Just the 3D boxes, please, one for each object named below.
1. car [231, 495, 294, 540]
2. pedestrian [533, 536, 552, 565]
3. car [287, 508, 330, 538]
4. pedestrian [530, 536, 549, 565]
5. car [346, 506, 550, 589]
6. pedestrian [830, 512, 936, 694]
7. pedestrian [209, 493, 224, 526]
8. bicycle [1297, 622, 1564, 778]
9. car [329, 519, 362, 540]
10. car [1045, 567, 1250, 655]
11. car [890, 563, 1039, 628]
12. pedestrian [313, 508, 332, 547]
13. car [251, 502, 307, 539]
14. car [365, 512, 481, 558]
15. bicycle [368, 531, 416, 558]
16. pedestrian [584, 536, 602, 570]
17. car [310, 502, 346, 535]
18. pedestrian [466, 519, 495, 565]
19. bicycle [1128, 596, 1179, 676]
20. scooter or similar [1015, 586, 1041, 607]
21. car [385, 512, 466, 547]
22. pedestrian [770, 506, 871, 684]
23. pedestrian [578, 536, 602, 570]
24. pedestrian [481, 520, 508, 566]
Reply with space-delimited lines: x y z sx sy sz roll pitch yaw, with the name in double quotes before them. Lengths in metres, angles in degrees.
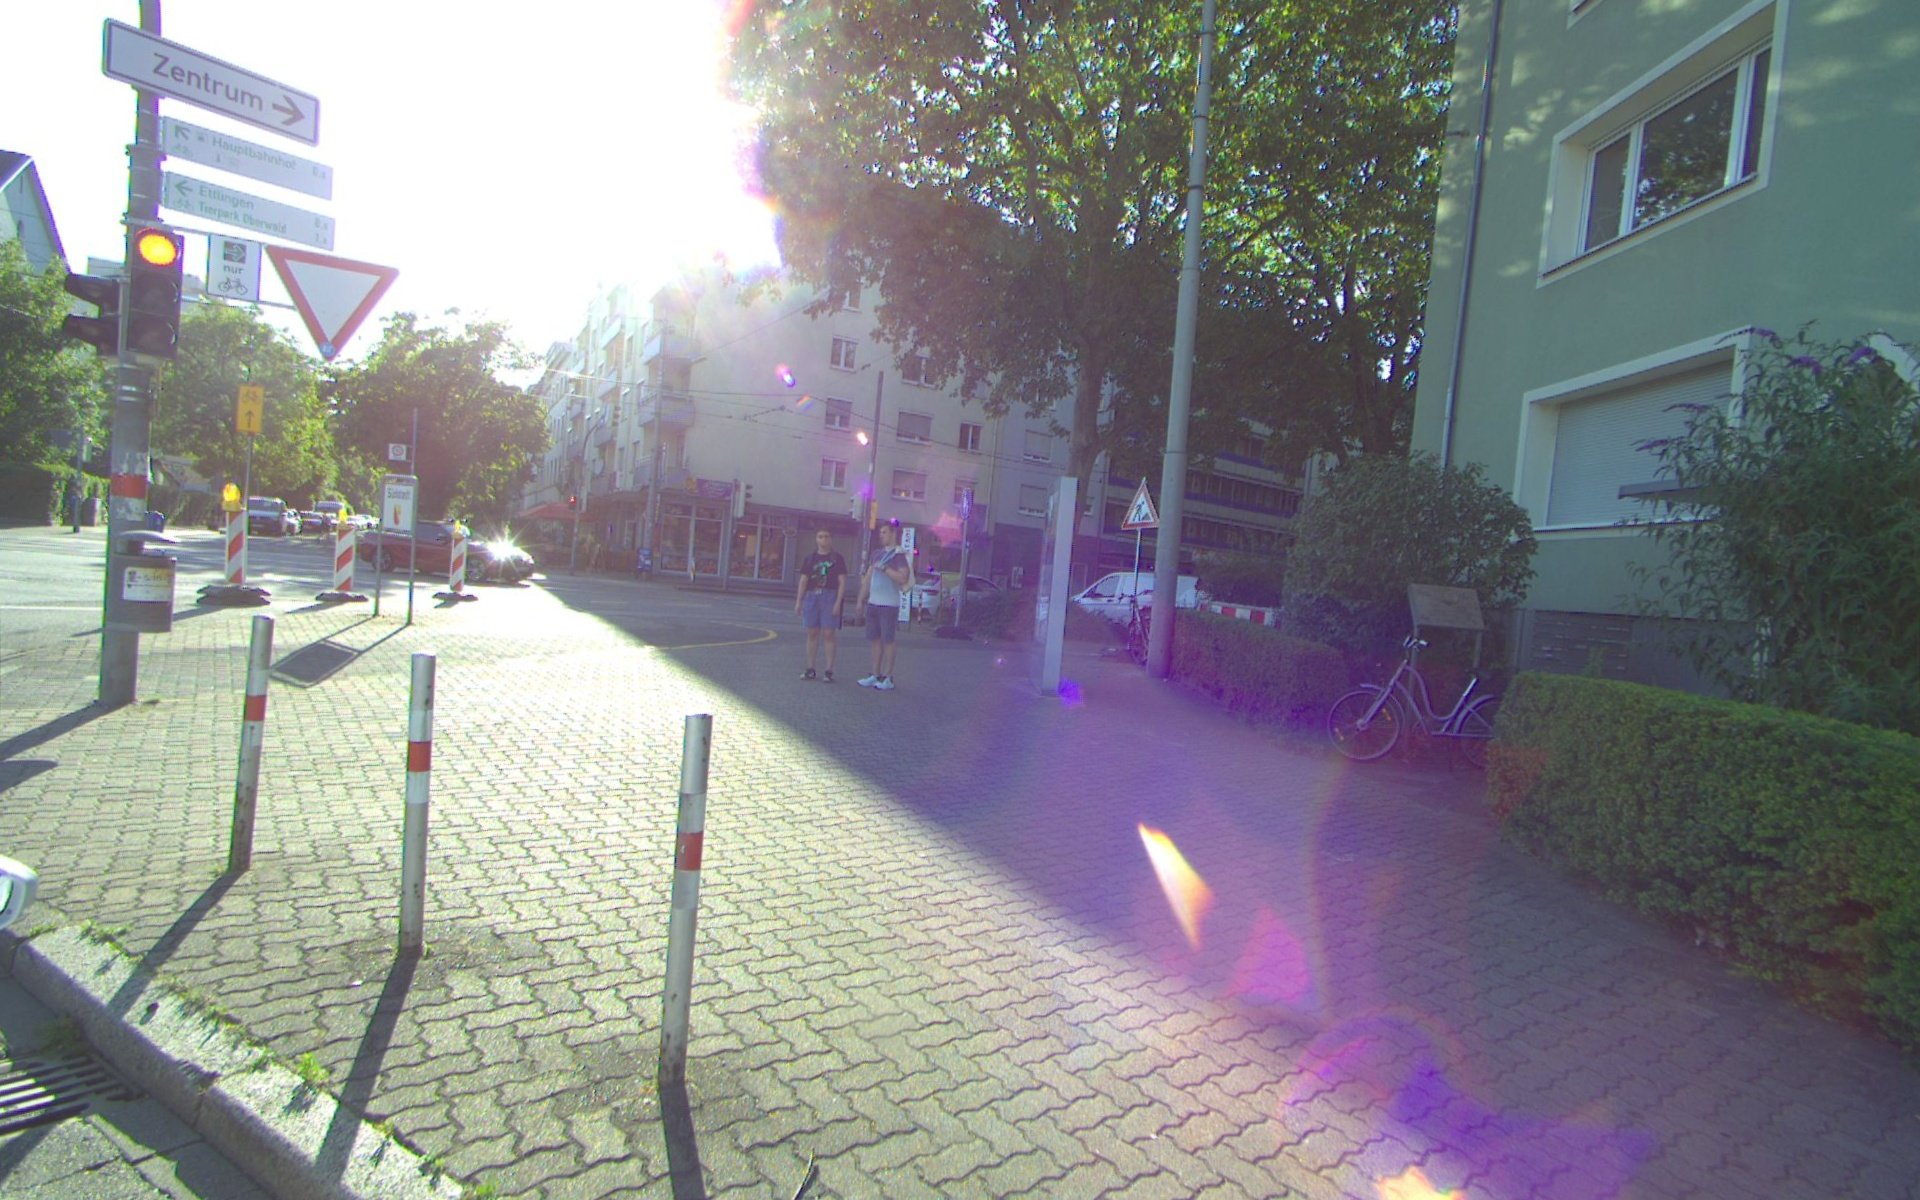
"car" -37.334 -4.397 53.983 2.336 2.040 5.265 4 2 -31
"pedestrian" -20.824 -2.487 50.201 0.803 1.381 0.908 4 2 -24
"car" -47.042 -5.578 72.766 2.336 1.818 5.265 4 2 -31
"pedestrian" -21.464 -2.526 51.356 0.803 1.381 0.908 4 2 -23
"car" -13.171 -1.331 25.989 4.308 1.583 1.901 6 0 10
"pedestrian" -0.794 0.027 10.519 0.680 1.774 0.794 6 2 21
"pedestrian" -41.023 -4.971 55.521 0.575 1.754 0.602 4 3 -34
"bicycle" 3.952 0.823 8.546 1.897 1.071 0.521 6 2 5
"car" -61.537 -7.060 100.802 2.333 1.818 5.271 5 2 -28
"car" 4.709 0.225 26.130 1.913 1.849 5.185 5 0 -37
"car" 0.166 -0.108 29.403 3.964 1.505 1.877 5 2 -38
"pedestrian" -31.698 -3.595 50.004 0.656 1.863 0.677 4 3 -30
"car" -40.165 -4.680 59.455 2.336 1.818 5.265 4 2 -31
"car" -30.232 -3.582 56.673 5.576 1.948 2.343 5 0 -32
"bicycle" -23.704 -2.334 42.011 1.708 0.945 0.667 5 2 -29
"pedestrian" -17.884 -2.293 49.033 0.472 1.613 0.615 8 3 45
"car" -54.394 -6.979 86.631 2.336 2.548 5.265 4 2 -31
"pedestrian" -19.447 -2.354 40.813 0.706 1.774 0.793 5 2 -7
"bicycle" 2.863 0.496 15.001 0.511 1.071 1.933 6 2 7
"scooter or similar" 3.530 -0.186 52.140 1.421 0.966 0.462 4 3 -44
"car" -39.355 -5.151 74.115 5.050 1.948 2.344 5 0 -32
"pedestrian" -1.477 -0.056 10.722 0.680 1.774 0.794 6 2 13
"pedestrian" -18.232 -2.335 49.577 0.806 1.565 0.905 3 3 -35
"pedestrian" -18.573 -2.258 40.146 0.681 1.774 0.793 5 2 -7
